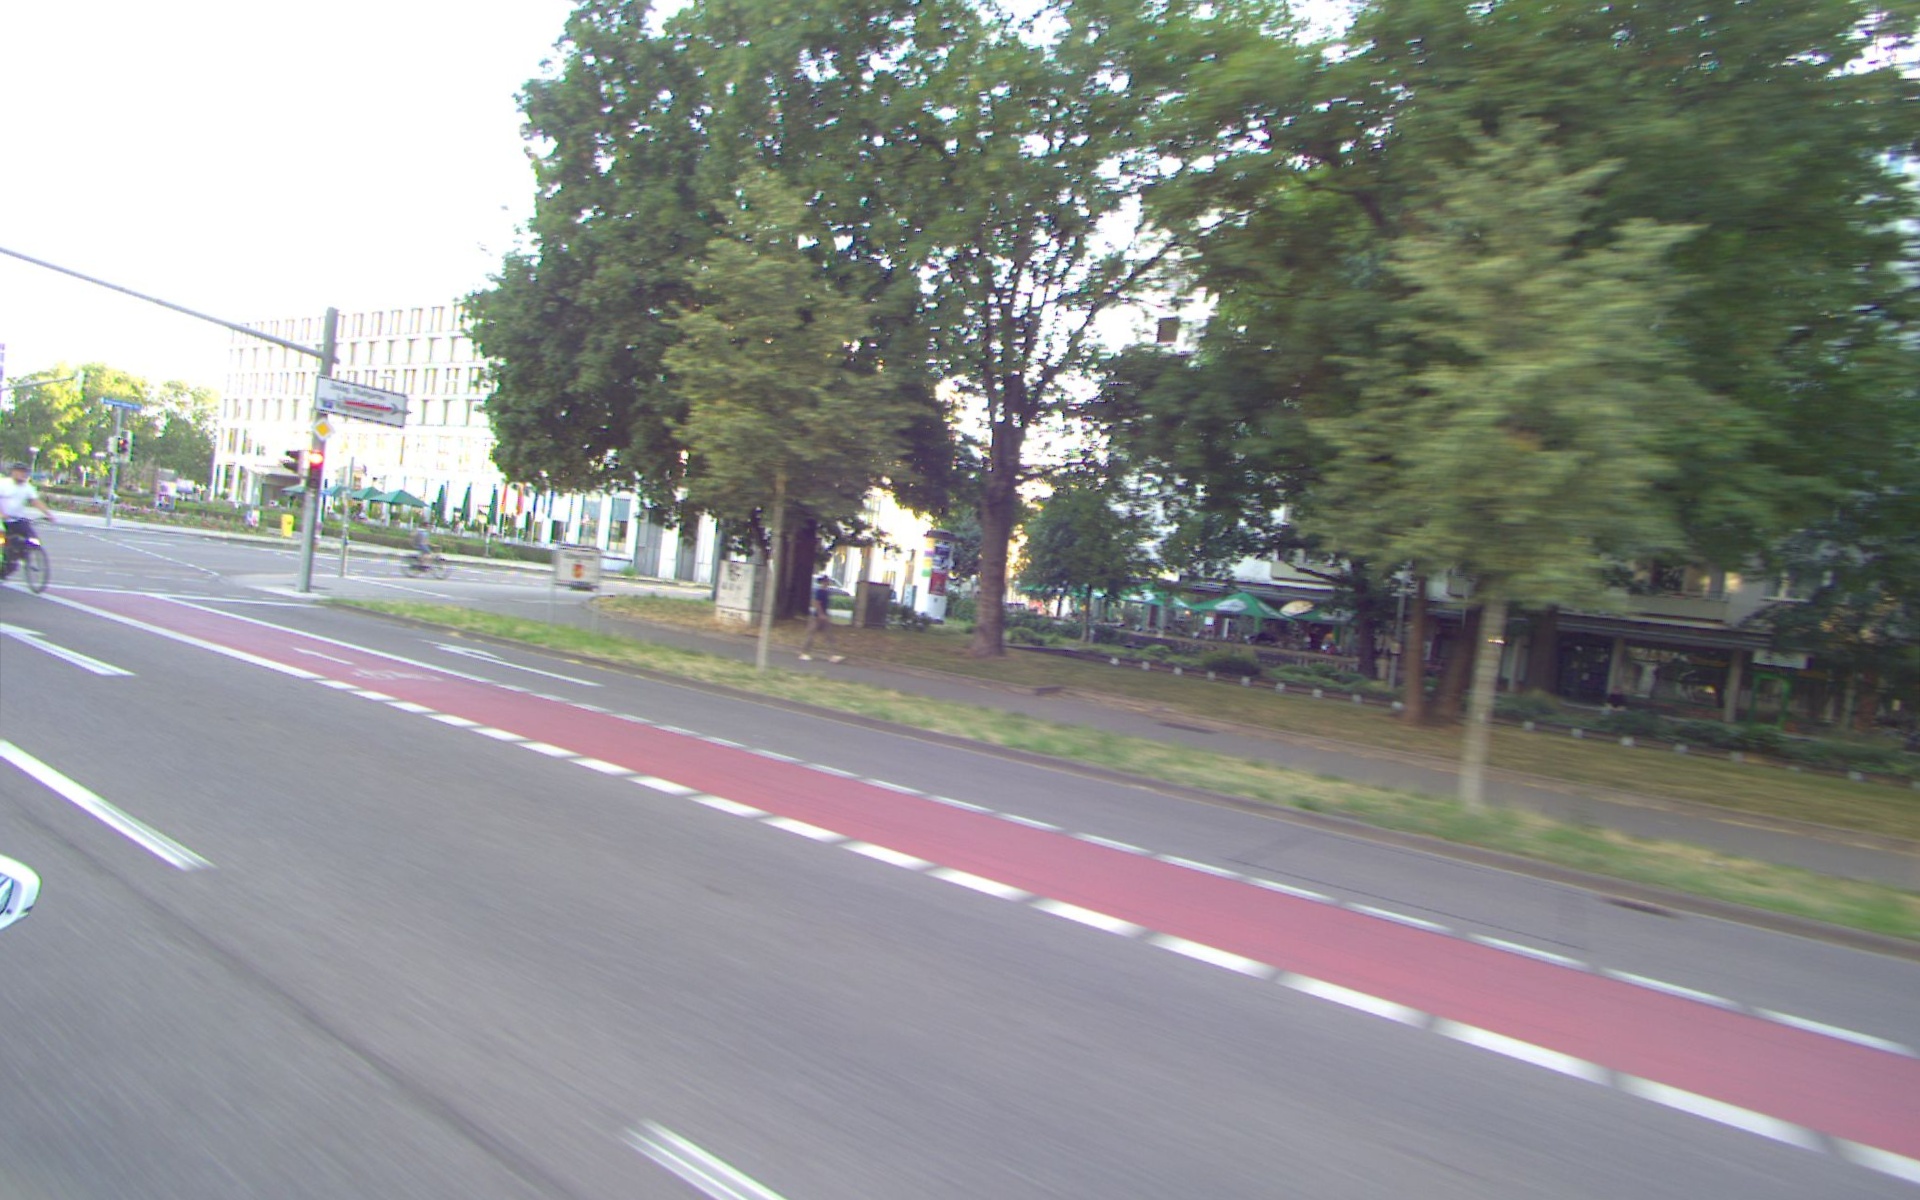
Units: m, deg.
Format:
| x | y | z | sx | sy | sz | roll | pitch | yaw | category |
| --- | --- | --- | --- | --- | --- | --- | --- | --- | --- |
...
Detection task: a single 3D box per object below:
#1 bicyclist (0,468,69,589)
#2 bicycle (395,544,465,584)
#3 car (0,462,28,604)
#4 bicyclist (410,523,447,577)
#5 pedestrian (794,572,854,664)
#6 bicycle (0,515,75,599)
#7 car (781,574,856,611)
| x | y | z | sx | sy | sz | roll | pitch | yaw | category |
| --- | --- | --- | --- | --- | --- | --- | --- | --- | --- |
| -14.076 | -1.077 | 15.145 | 0.737 | 1.715 | 0.762 | 7 | 1 | 37 | bicyclist |
| -17.913 | -1.201 | 34.016 | 0.719 | 1.082 | 1.897 | 7 | -1 | 36 | bicycle |
| -13.631 | -1.052 | 13.204 | 2.524 | 1.803 | 1.460 | 9 | 1 | 35 | car |
| -17.920 | -1.681 | 33.904 | 0.704 | 1.715 | 0.746 | 7 | 1 | 36 | bicyclist |
| -2.678 | 0.360 | 19.863 | 0.736 | 1.715 | 0.695 | 7 | 1 | 32 | pedestrian |
| -14.264 | -0.681 | 15.271 | 1.872 | 1.081 | 0.729 | 7 | -1 | 34 | bicycle |
| -8.034 | -0.405 | 57.516 | 1.964 | 1.668 | 4.544 | 7 | 0 | 25 | car |
